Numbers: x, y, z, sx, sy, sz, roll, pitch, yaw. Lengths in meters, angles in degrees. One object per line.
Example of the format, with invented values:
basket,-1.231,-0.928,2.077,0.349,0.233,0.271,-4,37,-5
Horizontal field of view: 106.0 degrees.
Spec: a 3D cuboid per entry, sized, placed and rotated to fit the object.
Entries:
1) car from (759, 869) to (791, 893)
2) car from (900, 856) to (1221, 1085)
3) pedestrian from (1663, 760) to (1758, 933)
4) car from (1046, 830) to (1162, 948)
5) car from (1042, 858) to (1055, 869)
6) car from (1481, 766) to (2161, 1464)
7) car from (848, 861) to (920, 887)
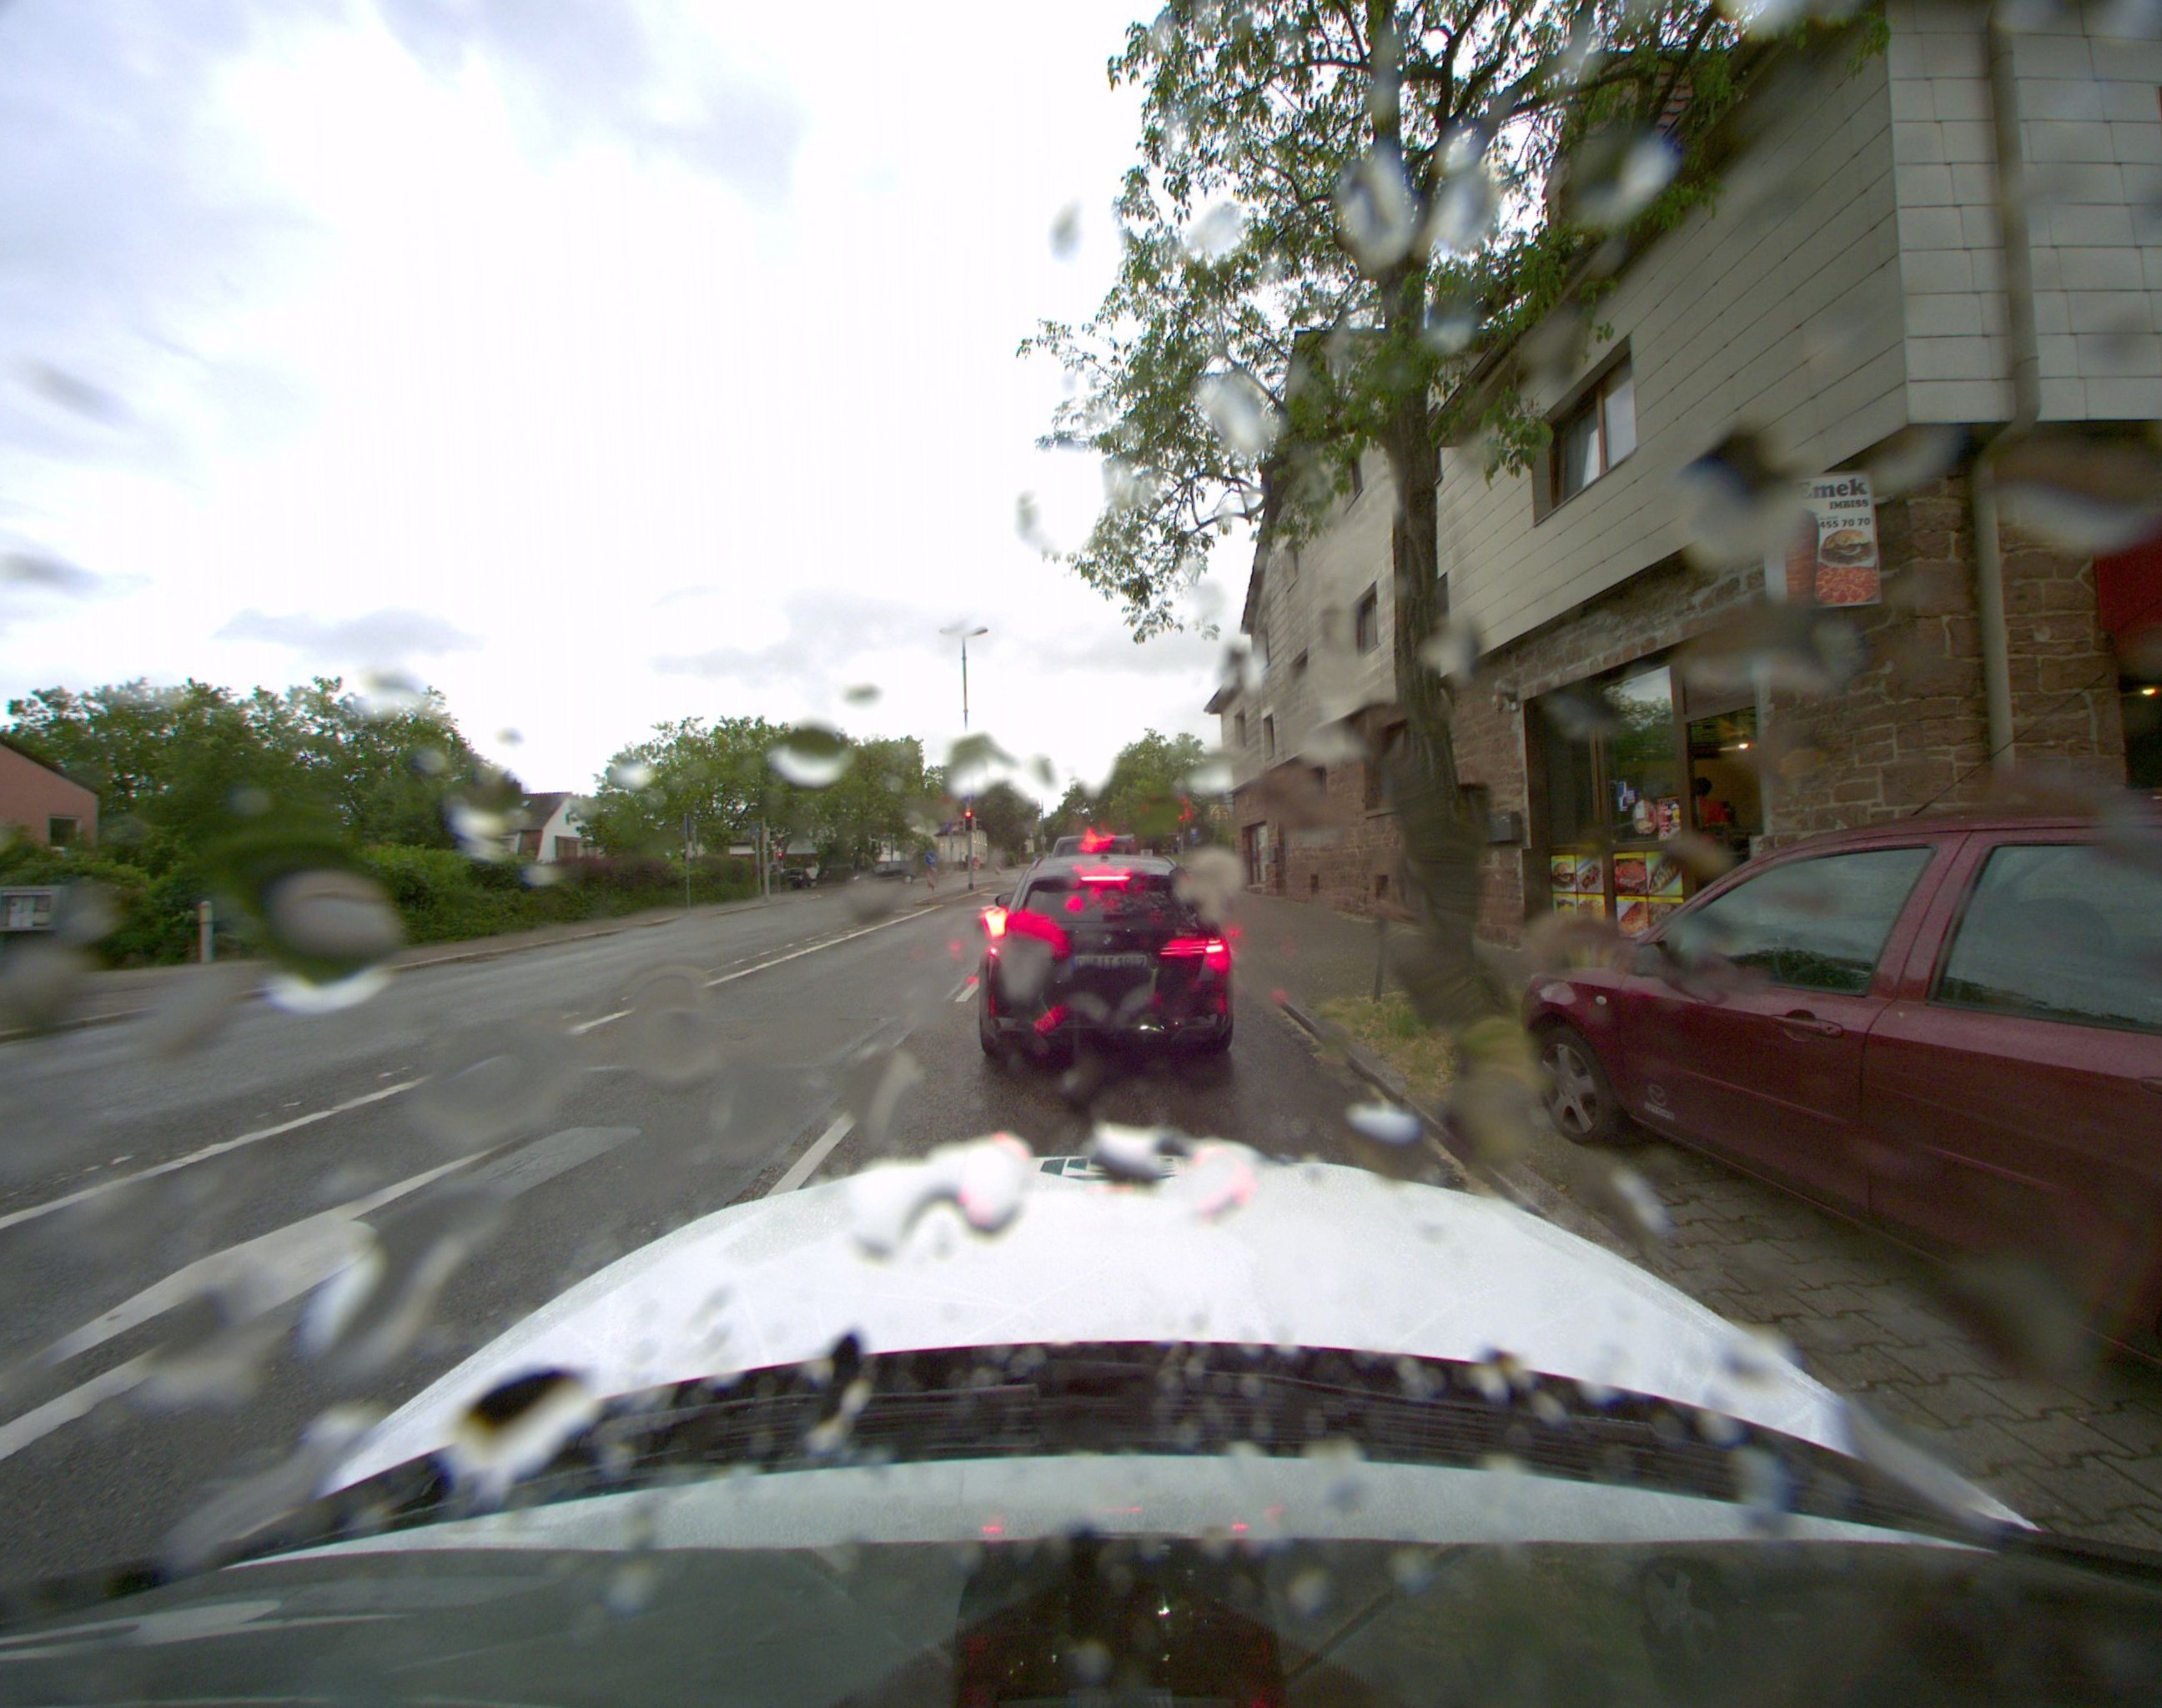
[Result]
car,-21.668,1.886,57.742,2.000,1.552,3.973,-2,0,-20
car,-0.148,0.754,7.506,2.058,1.446,4.481,-1,0,-1
pedestrian,6.912,-0.085,8.964,0.635,1.839,0.483,-1,0,1
car,0.359,0.541,14.806,1.778,1.817,3.999,-2,0,0
car,-4.526,1.324,113.183,1.459,1.398,3.322,-1,0,1
car,3.050,0.504,2.632,1.579,1.490,3.625,-5,1,-1
car,-13.037,1.311,53.855,4.479,1.587,2.059,-1,0,-17
